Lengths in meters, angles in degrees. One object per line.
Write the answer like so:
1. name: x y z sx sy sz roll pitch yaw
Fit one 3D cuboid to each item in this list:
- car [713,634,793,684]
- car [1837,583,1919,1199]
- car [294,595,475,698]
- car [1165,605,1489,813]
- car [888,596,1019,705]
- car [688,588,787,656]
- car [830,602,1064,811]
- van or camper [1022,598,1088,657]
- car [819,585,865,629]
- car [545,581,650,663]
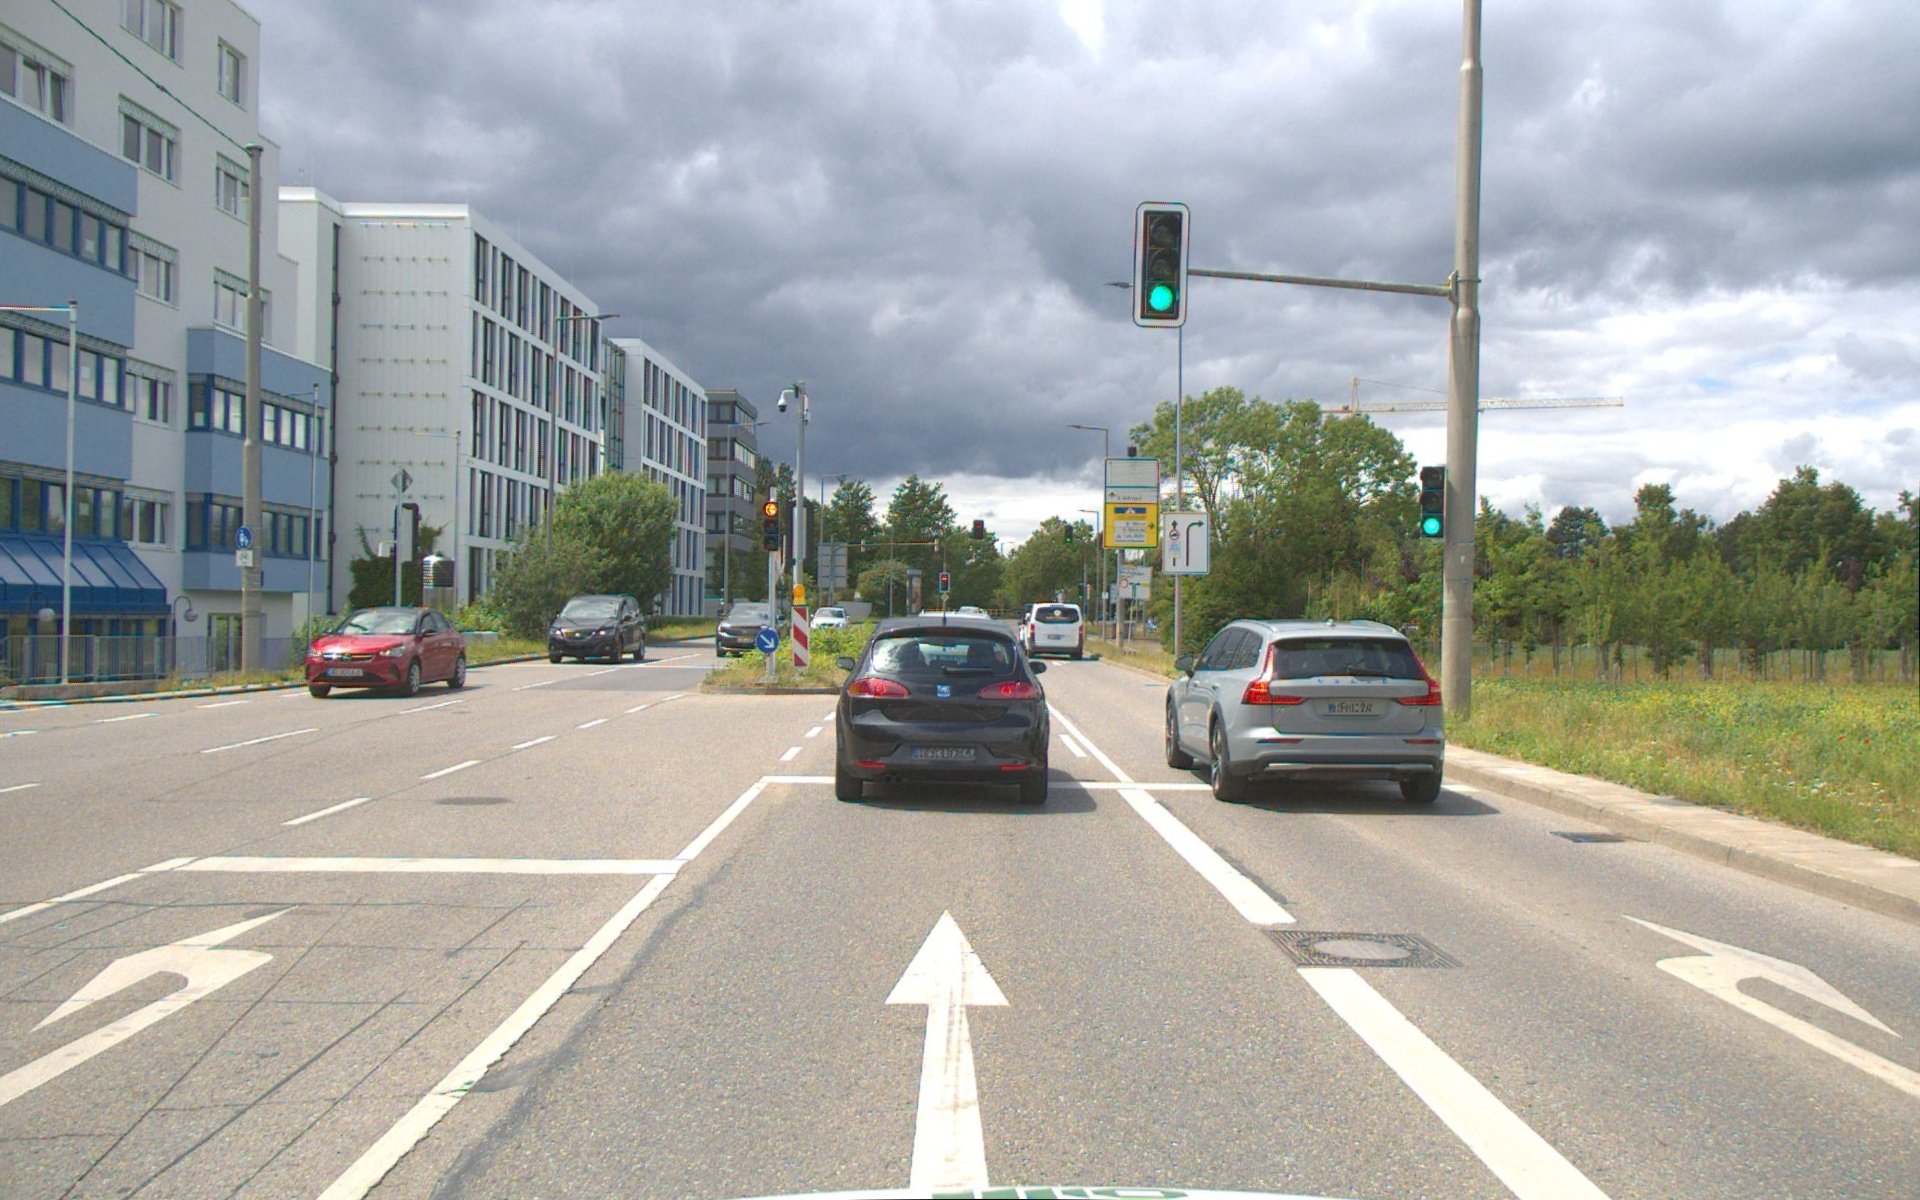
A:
1. car: -6.193 1.742 49.772 1.953 1.434 3.999 0 -1 -1
2. car: 3.293 0.804 2.048 1.801 1.565 4.805 0 2 -1
3. car: -9.763 0.767 28.374 1.740 1.640 3.999 0 -1 -1
4. car: 3.076 0.868 14.832 1.918 1.552 4.339 -1 -1 0
5. car: -0.151 0.790 27.070 1.943 1.618 4.224 1 -1 -2
6. car: -5.107 0.511 38.473 1.808 1.487 4.054 0 -1 -1
7. car: -0.008 0.826 14.371 1.711 1.510 4.001 2 -1 3
8. van or camper: 3.237 0.934 56.909 1.861 1.959 3.998 0 -1 -3
9. car: -5.665 0.371 79.846 1.953 2.049 3.999 0 -1 -1
10. car: -9.403 0.581 43.205 1.954 2.049 4.478 0 -1 -3
